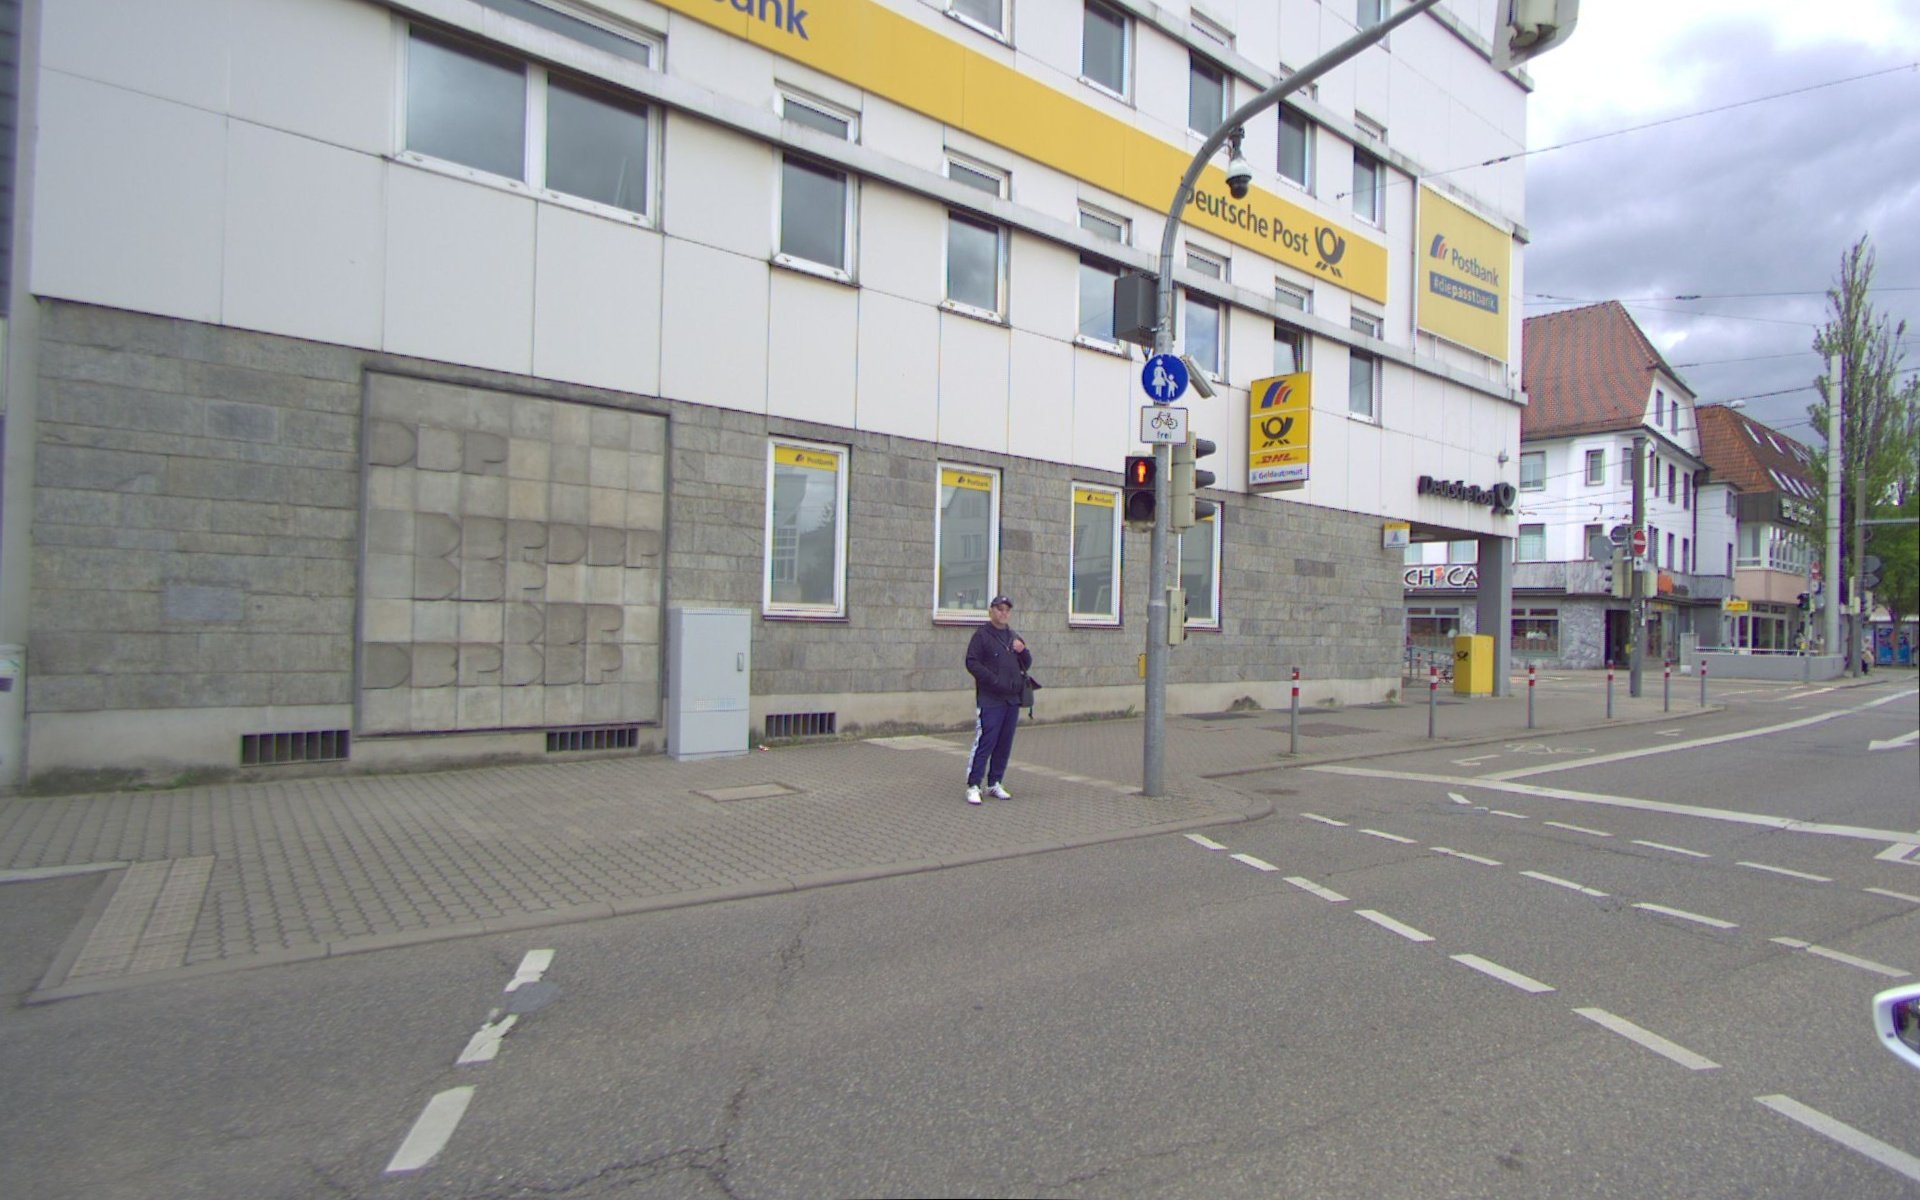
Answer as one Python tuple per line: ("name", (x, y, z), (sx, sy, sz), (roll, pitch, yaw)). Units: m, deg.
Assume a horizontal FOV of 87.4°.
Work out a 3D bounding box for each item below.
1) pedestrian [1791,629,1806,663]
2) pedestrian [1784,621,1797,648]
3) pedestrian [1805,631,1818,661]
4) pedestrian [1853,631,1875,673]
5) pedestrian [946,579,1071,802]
("pedestrian", (46.591, 2.534, 55.832), (0.634, 1.860, 0.577), (0, -1, 39))
("pedestrian", (50.377, 2.079, 60.943), (0.571, 1.627, 0.641), (0, -1, 40))
("pedestrian", (47.716, 2.573, 56.285), (0.571, 1.627, 0.641), (0, -1, 40))
("pedestrian", (36.234, 2.073, 40.281), (0.626, 1.627, 0.701), (0, -1, 40))
("pedestrian", (0.394, 0.709, 8.291), (0.774, 1.741, 0.644), (1, 1, -30))
